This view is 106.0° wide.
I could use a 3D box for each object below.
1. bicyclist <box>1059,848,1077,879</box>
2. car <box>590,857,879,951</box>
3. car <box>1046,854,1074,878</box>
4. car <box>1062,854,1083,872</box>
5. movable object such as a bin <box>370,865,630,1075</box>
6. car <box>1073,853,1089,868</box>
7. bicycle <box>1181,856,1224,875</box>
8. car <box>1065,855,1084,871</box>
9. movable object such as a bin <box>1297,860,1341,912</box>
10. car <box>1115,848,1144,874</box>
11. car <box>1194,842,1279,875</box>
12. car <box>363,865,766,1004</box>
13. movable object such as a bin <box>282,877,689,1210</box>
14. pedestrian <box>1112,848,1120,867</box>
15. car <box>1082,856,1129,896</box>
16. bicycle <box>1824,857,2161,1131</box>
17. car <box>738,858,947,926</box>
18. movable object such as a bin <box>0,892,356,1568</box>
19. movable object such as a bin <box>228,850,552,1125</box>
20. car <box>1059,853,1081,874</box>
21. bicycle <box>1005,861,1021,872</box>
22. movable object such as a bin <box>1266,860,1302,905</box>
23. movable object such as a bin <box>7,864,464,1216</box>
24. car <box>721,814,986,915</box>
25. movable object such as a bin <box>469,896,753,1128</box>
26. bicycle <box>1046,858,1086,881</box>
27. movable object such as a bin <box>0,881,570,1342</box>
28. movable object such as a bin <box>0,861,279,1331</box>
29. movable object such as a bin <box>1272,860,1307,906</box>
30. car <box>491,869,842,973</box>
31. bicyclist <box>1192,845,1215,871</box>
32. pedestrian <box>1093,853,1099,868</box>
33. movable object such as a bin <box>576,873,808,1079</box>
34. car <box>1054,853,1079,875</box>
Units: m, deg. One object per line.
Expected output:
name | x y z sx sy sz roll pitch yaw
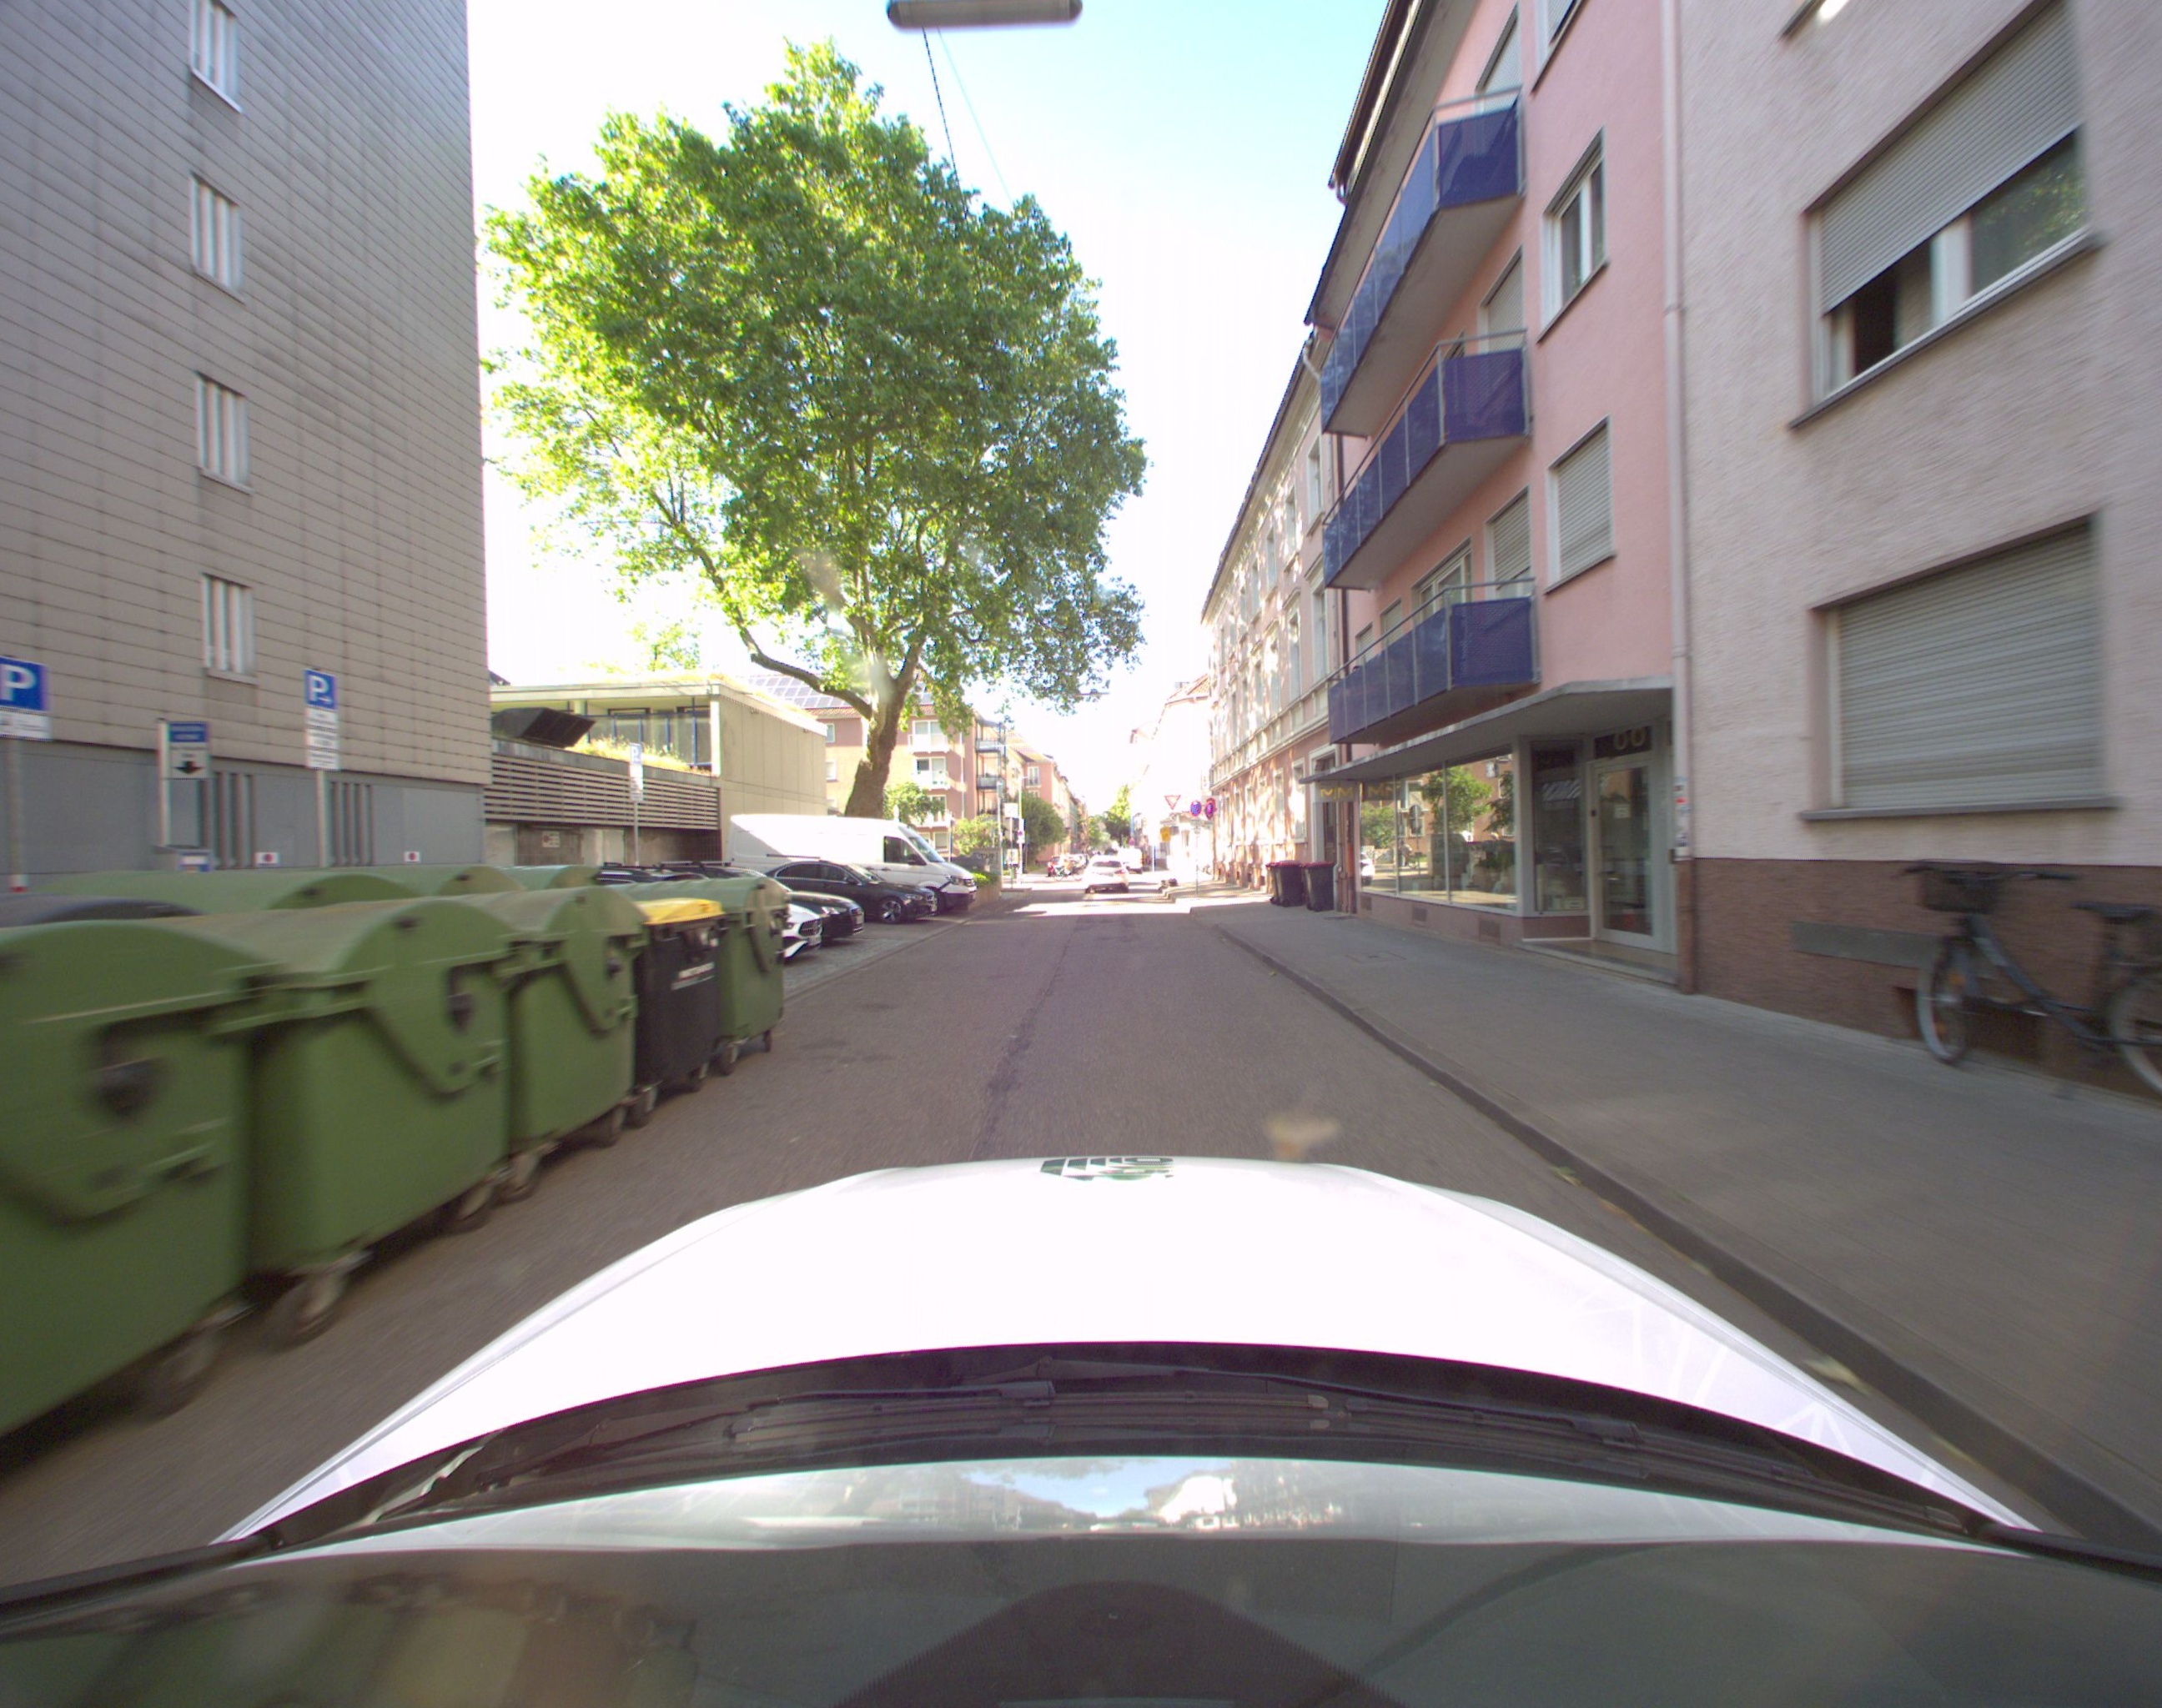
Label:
bicyclist | -0.742 0.542 46.618 0.921 1.720 0.943 -2 -1 3
car | -6.193 0.875 14.985 4.452 1.610 1.915 0 -1 -1
car | -1.487 0.832 59.411 1.763 1.589 3.727 -2 1 1
car | -0.793 0.848 77.306 1.713 1.576 3.728 -2 -1 3
movable object such as a bin | -4.732 0.886 6.770 1.350 1.549 1.119 -1 -1 -4
car | 0.040 0.760 91.620 1.566 1.585 3.613 -2 -1 3
bicycle | 7.340 0.684 49.136 2.406 1.080 0.794 -2 -1 16
car | -0.614 0.888 81.317 1.595 1.477 3.569 -2 -1 3
movable object such as a bin | 5.218 0.690 17.903 0.727 1.104 0.693 -2 -1 0
car | 3.671 0.513 62.509 1.937 1.948 4.077 -1 0 -1
car | 9.743 0.309 51.034 4.844 1.929 2.011 -2 -2 26
car | -6.269 0.935 10.238 3.862 1.505 1.827 -1 -1 0
movable object such as a bin | -3.027 0.893 4.317 1.329 1.491 1.082 -1 -1 1
pedestrian | 3.985 0.449 92.515 0.768 2.118 0.835 -2 -1 2
car | 1.029 0.866 34.281 1.817 1.514 3.824 -2 0 1
bicycle | 4.826 0.600 4.092 0.451 1.134 1.921 -4 -1 4
car | -5.724 0.890 19.925 4.481 1.470 1.930 1 0 3
movable object such as a bin | -3.102 0.880 2.213 1.343 1.487 1.003 -1 -1 1
movable object such as a bin | -4.636 0.820 5.609 1.225 1.653 1.172 -1 -1 -4
car | -0.913 0.814 70.519 1.629 1.656 3.787 -2 -1 3
bicycle | -5.903 1.061 70.810 0.607 0.932 1.896 -1 -1 -31
movable object such as a bin | 5.103 0.705 20.485 0.742 1.086 0.635 -2 -1 3
movable object such as a bin | -4.354 0.872 4.333 1.284 1.604 1.082 -1 -1 1
car | -6.198 0.285 22.742 6.710 2.555 2.147 1 -1 3
movable object such as a bin | -3.034 0.976 5.408 1.236 1.322 1.046 -1 -1 1
bicycle | -0.842 0.892 46.568 2.154 1.255 0.834 -2 -1 3
movable object such as a bin | -3.047 0.883 3.248 1.338 1.499 1.018 -1 -1 1
movable object such as a bin | -4.375 0.853 3.268 1.289 1.620 1.018 -1 -1 1
movable object such as a bin | 5.080 0.706 19.853 0.698 1.073 0.597 -2 -1 3
car | -6.126 0.960 12.451 4.327 1.425 1.958 0 -1 0
bicyclist | 7.384 0.249 49.133 1.186 1.516 0.844 -2 -1 17
pedestrian | 1.850 0.766 97.730 0.644 1.797 0.639 -2 -1 2
movable object such as a bin | -3.028 0.897 6.508 1.297 1.451 1.117 -1 -1 -2
car | -1.103 0.791 65.005 1.713 1.682 3.728 -2 0 3
